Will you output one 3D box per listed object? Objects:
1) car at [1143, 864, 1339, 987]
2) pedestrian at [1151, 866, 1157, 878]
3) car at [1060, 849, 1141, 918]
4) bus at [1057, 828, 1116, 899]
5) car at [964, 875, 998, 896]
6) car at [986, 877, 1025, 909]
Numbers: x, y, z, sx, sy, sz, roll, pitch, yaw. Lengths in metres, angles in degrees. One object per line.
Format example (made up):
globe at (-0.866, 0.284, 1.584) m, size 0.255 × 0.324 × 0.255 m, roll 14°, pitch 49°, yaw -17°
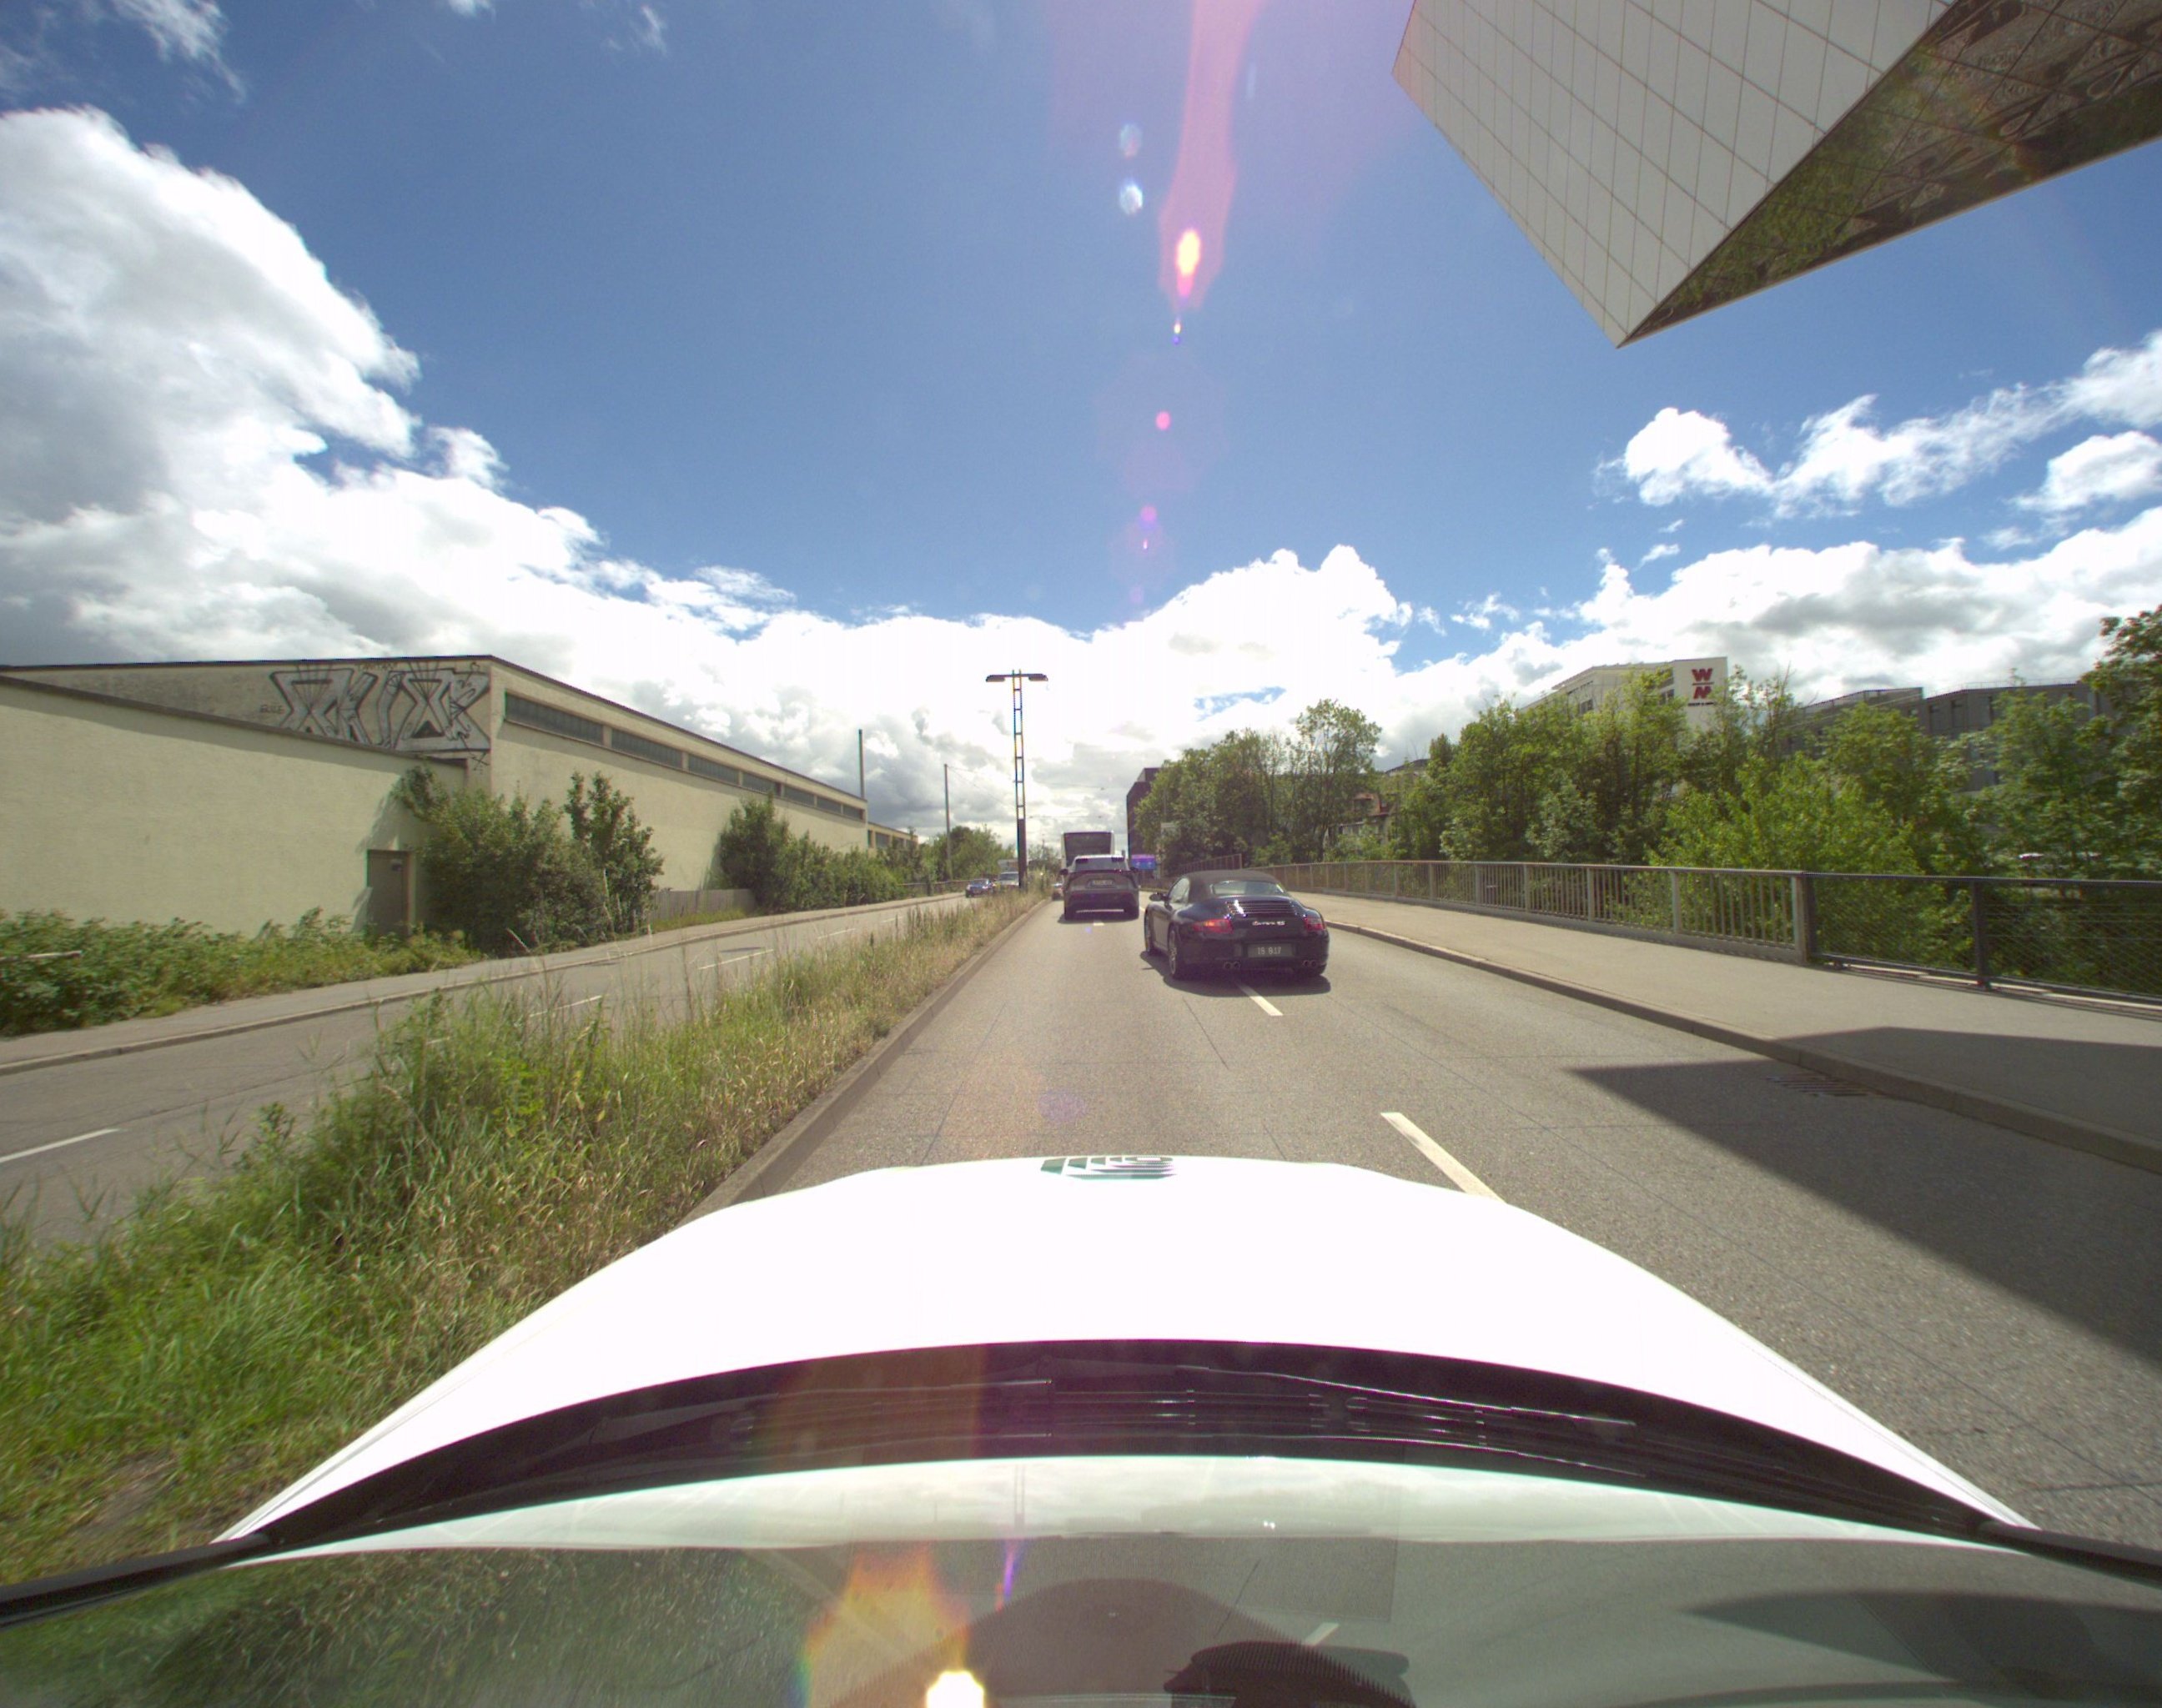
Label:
car at (1.917, 0.812, 11.007) m, size 1.715 × 1.275 × 4.084 m, roll -1°, pitch 0°, yaw -2°
pedestrian at (10.664, 2.576, 118.618) m, size 0.673 × 1.696 × 0.601 m, roll -3°, pitch -3°, yaw 25°
car at (0.513, 0.709, 21.264) m, size 1.873 × 1.594 × 4.231 m, roll -1°, pitch 0°, yaw 1°
bus at (0.391, 0.331, 43.489) m, size 2.679 × 3.255 × 12.060 m, roll 0°, pitch 1°, yaw 1°
car at (-7.018, 2.210, 57.416) m, size 1.748 × 1.276 × 4.000 m, roll -4°, pitch -1°, yaw 0°
car at (-4.568, 2.343, 49.707) m, size 1.872 × 1.627 × 4.443 m, roll -3°, pitch 0°, yaw 0°
